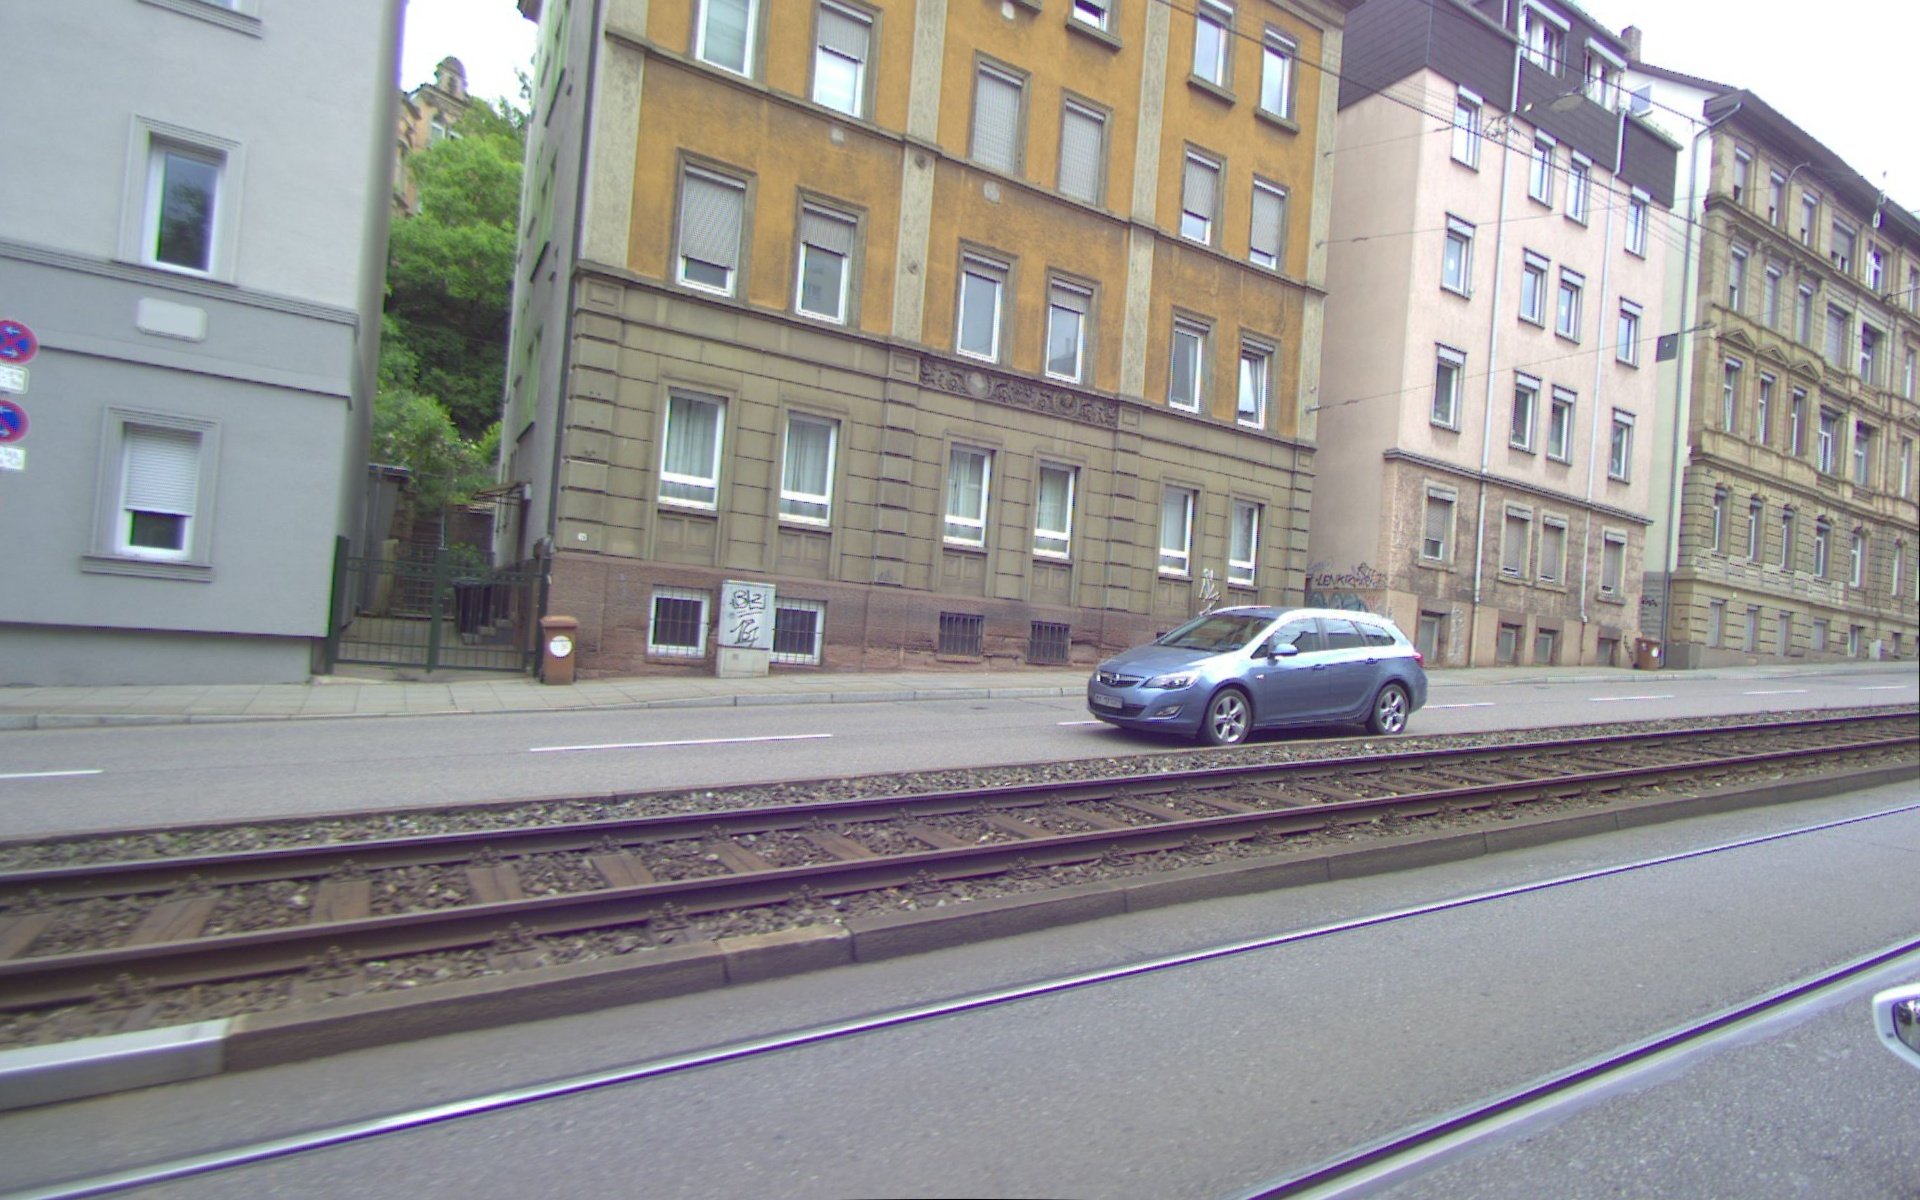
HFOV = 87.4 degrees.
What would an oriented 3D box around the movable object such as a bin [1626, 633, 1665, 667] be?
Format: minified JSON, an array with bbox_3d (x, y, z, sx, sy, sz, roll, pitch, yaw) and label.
[{"bbox_3d":[19.747,1.438,28.935,0.668,0.923,0.626,1,3,-30],"label":"movable object such as a bin"}]

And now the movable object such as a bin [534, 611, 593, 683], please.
[{"bbox_3d":[-5.523,0.640,13.976,0.645,0.960,0.775,1,0,-30],"label":"movable object such as a bin"}]

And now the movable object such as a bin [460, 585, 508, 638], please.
[{"bbox_3d":[-9.401,0.219,19.821,0.789,1.008,0.666,1,2,-30],"label":"movable object such as a bin"}]

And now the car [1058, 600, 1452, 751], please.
[{"bbox_3d":[3.572,0.799,11.915,4.607,1.474,1.834,1,0,-30],"label":"car"}]
